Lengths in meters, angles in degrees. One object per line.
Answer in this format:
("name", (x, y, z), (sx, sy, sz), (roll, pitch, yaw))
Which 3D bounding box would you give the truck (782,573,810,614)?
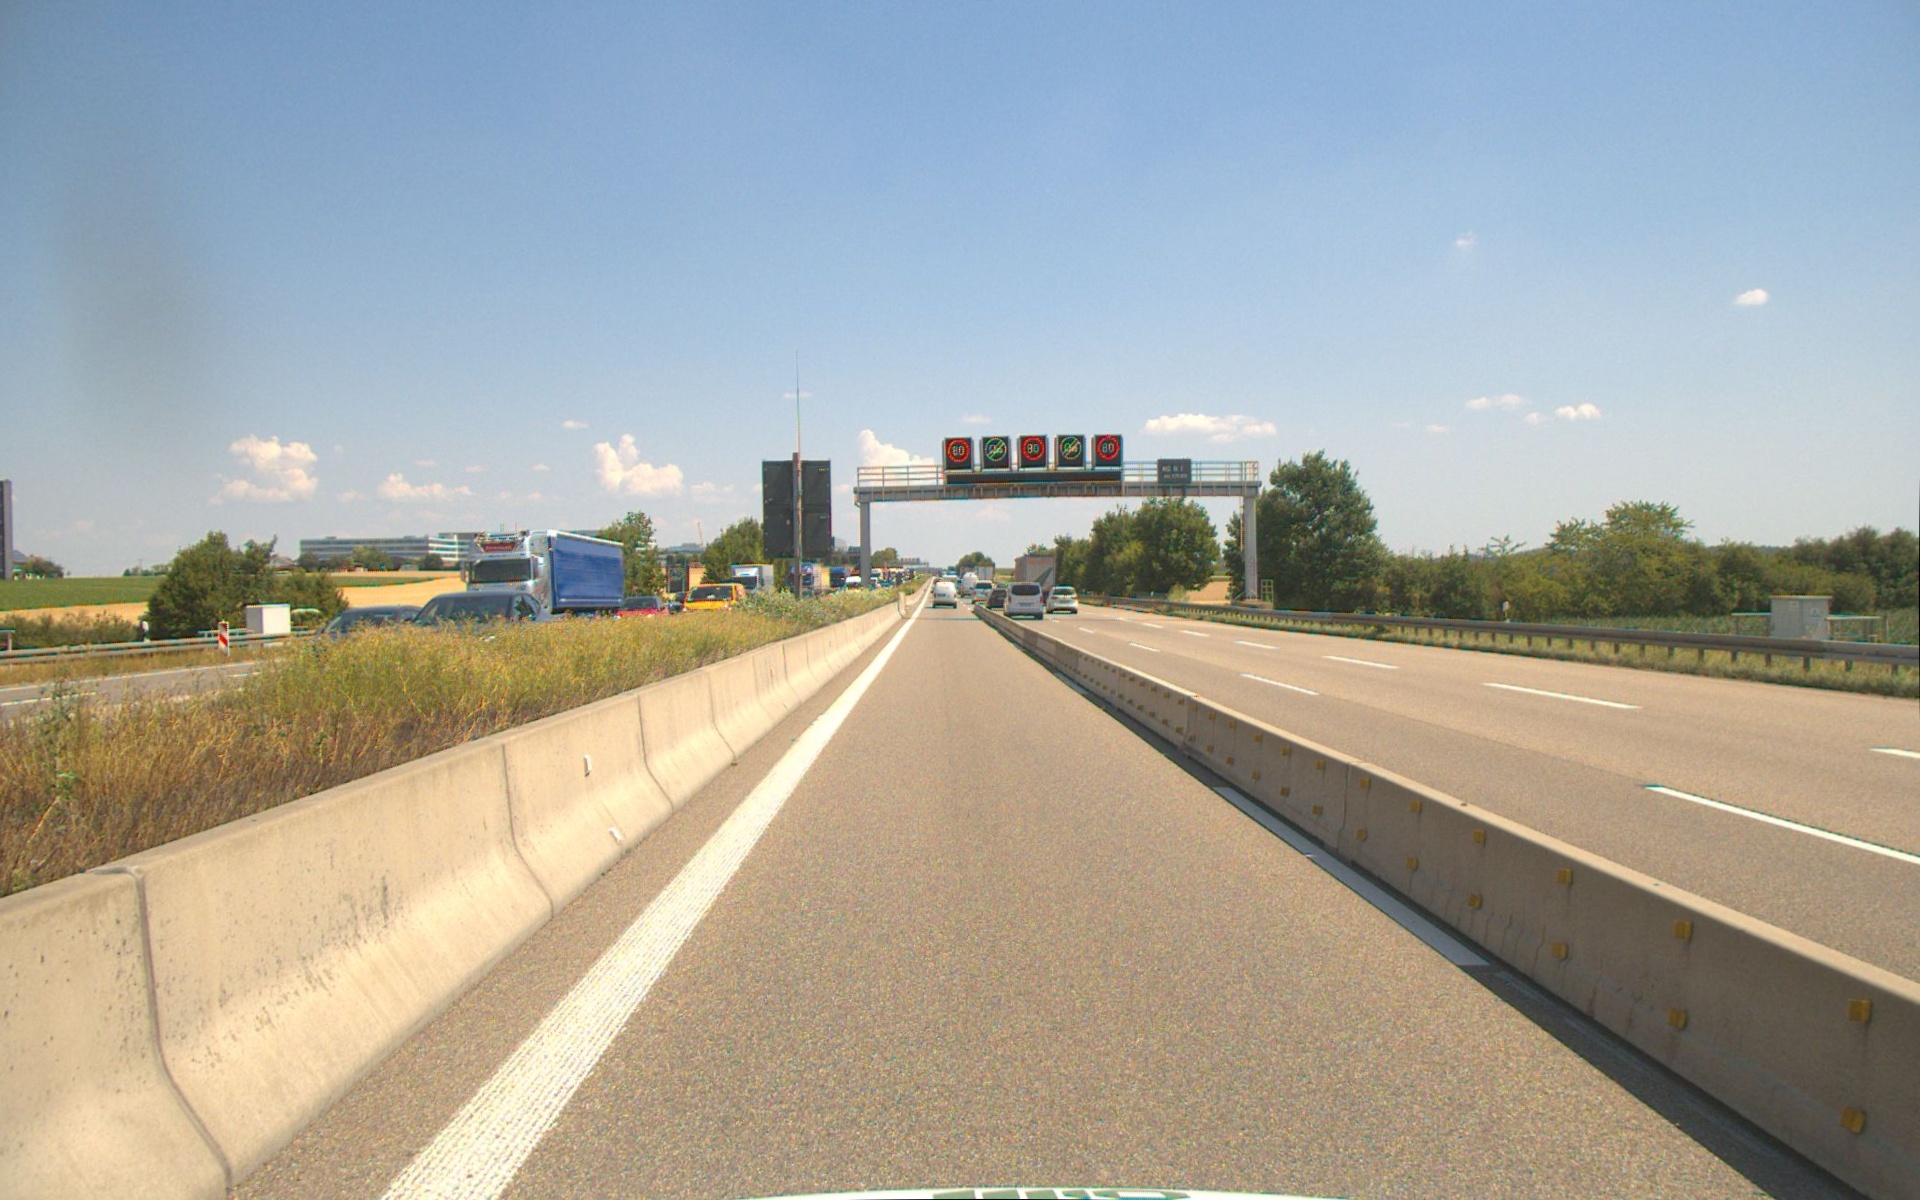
("truck", (-18.174, -0.751, 183.527), (2.540, 4.312, 4.853), (-3, 0, -1))

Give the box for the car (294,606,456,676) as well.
("car", (-11.554, 0.781, 32.959), (1.712, 1.288, 4.432), (1, -1, -1))

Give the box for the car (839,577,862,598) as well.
("car", (-10.477, -1.217, 158.409), (1.953, 1.980, 4.793), (-1, 0, -2))

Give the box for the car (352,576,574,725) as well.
("car", (-7.423, 0.674, 25.235), (1.953, 2.049, 4.685), (-1, 1, 0))

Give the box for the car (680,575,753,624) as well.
("car", (-8.397, 0.001, 57.411), (1.856, 1.606, 4.935), (1, -1, -1))

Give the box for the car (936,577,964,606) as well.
("car", (-0.743, -0.583, 118.532), (1.953, 2.049, 3.999), (0, 0, -1))

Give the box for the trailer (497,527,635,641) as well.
("trailer", (-15.888, -0.648, 67.991), (2.337, 4.158, 14.095), (-1, 0, 0))

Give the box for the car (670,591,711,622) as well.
("car", (-16.155, 0.350, 99.307), (1.795, 1.749, 4.079), (-2, 0, -1))

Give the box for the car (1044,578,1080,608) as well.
("car", (6.336, -0.423, 102.860), (1.953, 1.825, 3.999), (0, 0, -1))

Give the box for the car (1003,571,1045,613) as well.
("car", (3.275, -0.397, 85.602), (1.953, 2.157, 3.999), (0, 0, -1))

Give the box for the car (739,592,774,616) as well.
("car", (-12.477, 0.228, 101.755), (1.796, 1.347, 4.278), (-2, 1, -3))

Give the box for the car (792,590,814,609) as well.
("car", (-12.893, -0.057, 135.727), (1.527, 1.467, 3.836), (0, 1, -2))

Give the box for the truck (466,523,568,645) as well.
("truck", (-15.837, -0.584, 59.410), (2.362, 4.158, 4.659), (-1, 0, -1))

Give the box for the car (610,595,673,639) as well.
("car", (-12.018, 0.612, 62.589), (1.555, 1.534, 4.228), (-1, 0, 0))

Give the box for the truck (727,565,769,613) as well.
("truck", (-16.686, -0.858, 130.247), (2.643, 3.650, 4.000), (-2, 0, 0))

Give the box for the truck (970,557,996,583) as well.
("truck", (3.688, -4.811, 263.913), (3.738, 3.973, 9.578), (-1, 0, -1))

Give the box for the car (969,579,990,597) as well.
("car", (1.734, -1.060, 146.093), (1.737, 1.472, 3.999), (0, 0, -1))

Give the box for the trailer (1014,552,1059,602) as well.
("trailer", (6.400, -1.845, 139.080), (3.211, 4.036, 9.110), (0, 0, -1))

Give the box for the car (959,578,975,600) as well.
("car", (0.772, -1.288, 190.481), (1.737, 2.434, 3.999), (0, 0, -1))

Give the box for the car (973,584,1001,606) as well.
("car", (1.805, -0.342, 111.594), (1.737, 1.472, 3.999), (0, 0, -1))

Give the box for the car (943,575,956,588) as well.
("car", (-1.675, -2.829, 255.442), (1.953, 1.868, 3.999), (0, 0, -1))
